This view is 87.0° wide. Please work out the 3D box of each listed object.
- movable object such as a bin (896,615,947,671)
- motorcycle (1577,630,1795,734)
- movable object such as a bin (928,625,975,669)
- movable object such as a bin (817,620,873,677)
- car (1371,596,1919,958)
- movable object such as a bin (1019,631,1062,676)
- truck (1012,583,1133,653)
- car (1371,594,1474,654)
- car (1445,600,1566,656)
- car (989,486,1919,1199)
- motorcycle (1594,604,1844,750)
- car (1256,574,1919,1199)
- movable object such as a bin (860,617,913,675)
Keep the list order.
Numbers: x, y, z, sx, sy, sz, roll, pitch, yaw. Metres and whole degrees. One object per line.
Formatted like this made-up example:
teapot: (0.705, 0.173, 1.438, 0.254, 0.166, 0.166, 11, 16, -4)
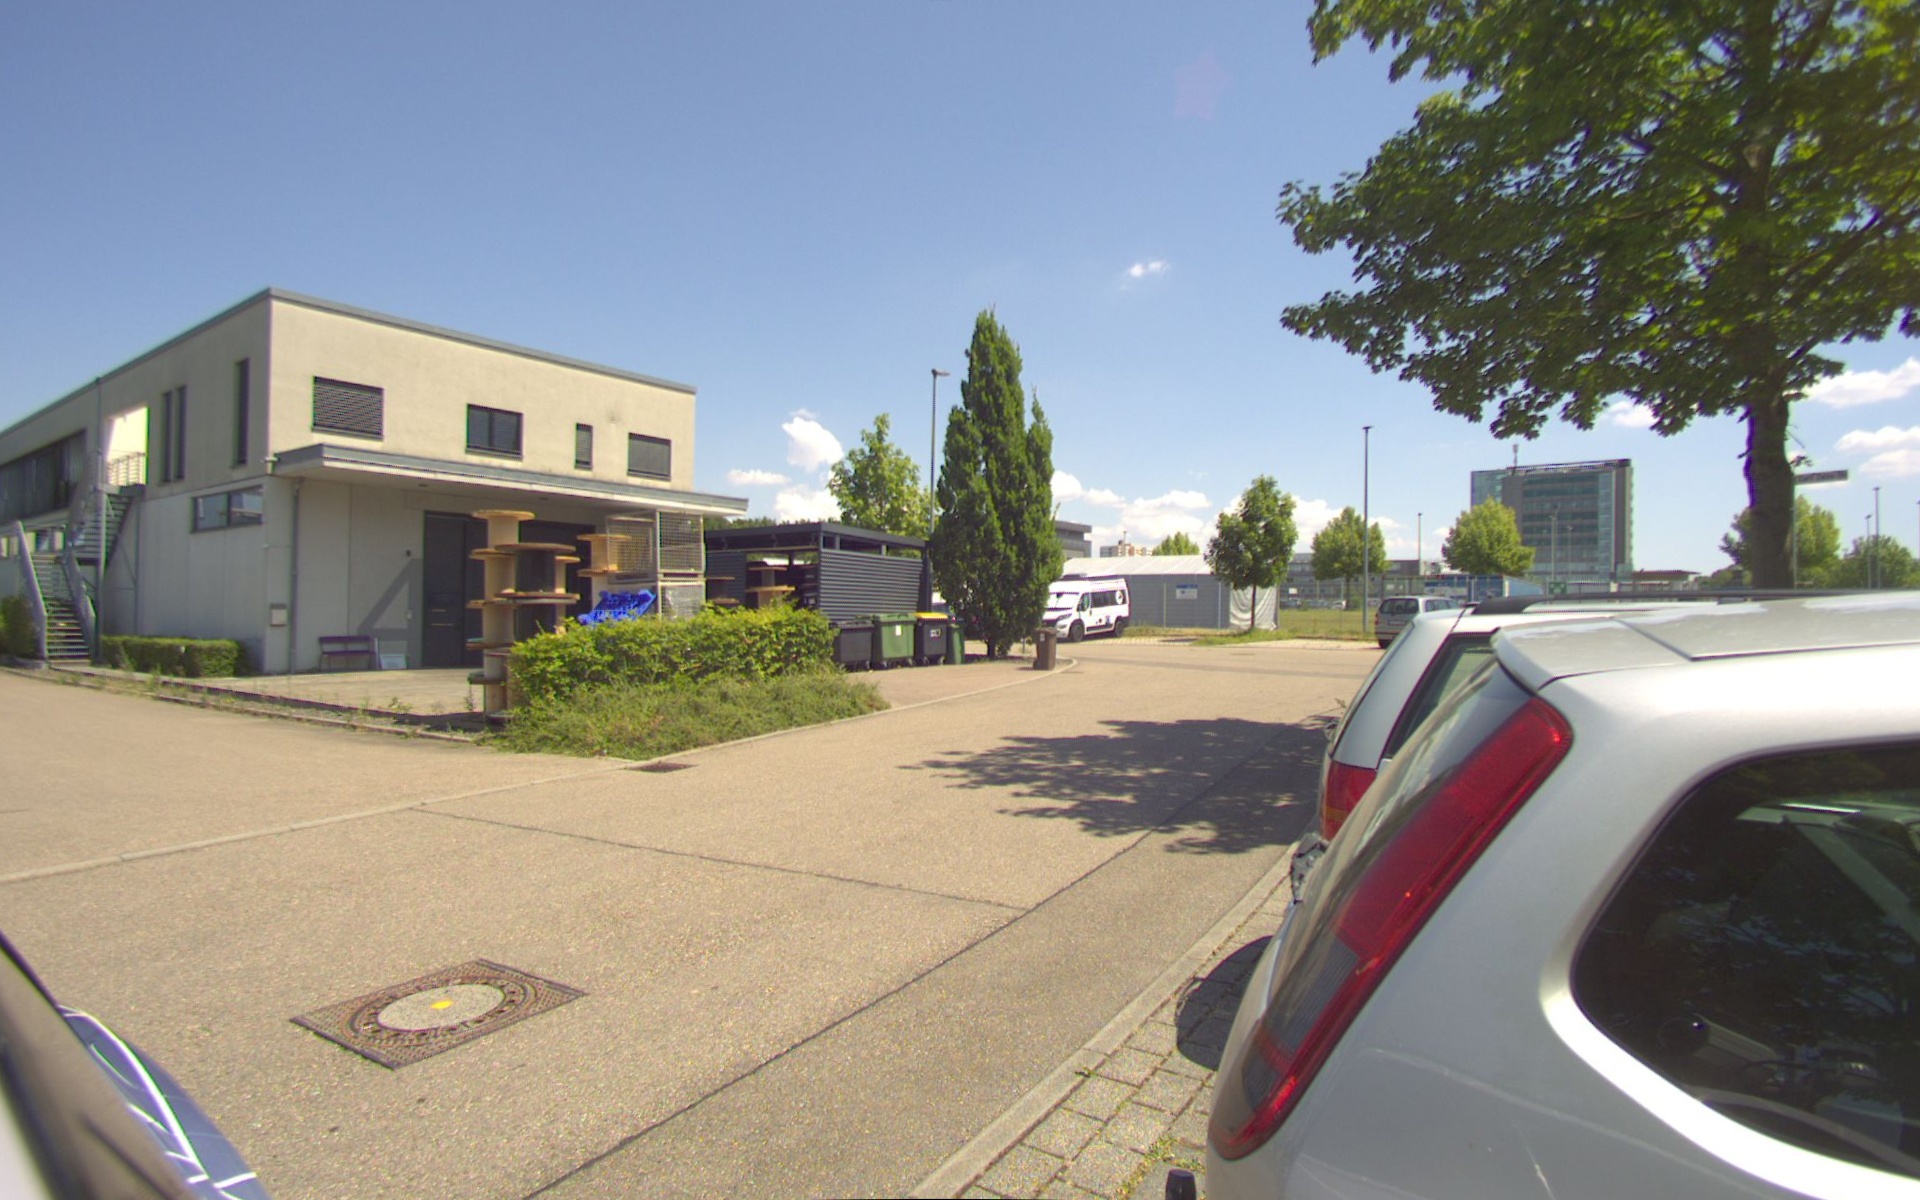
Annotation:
movable object such as a bin: (-0.959, 1.066, 25.419, 0.760, 1.346, 1.058, -1, -1, 42)
motorcycle: (8.335, 0.921, 11.732, 1.981, 1.117, 0.479, -1, -1, 30)
movable object such as a bin: (-0.206, 1.199, 26.209, 0.760, 1.092, 0.974, -1, -1, 42)
movable object such as a bin: (-2.670, 1.110, 23.503, 0.760, 1.280, 1.058, -1, -1, 42)
car: (4.165, 0.722, 4.869, 3.876, 1.459, 1.636, -1, -1, 30)
movable object such as a bin: (1.806, 1.184, 22.788, 0.760, 0.977, 0.582, -1, -1, 42)
truck: (4.757, 0.732, 41.935, 2.415, 2.692, 5.626, -1, -1, 37)
car: (14.410, 0.712, 31.429, 1.772, 1.751, 3.943, -1, -1, 43)
car: (15.882, 0.775, 29.393, 3.936, 1.533, 1.656, 0, -1, -39)
car: (2.300, 0.663, 0.519, 4.335, 1.490, 1.706, -1, -1, 33)
motorcycle: (7.750, 0.766, 10.448, 1.981, 1.400, 0.479, -1, -1, 30)
car: (2.962, 0.687, 2.753, 3.876, 1.490, 1.636, -1, -1, 30)
movable object such as a bin: (-1.766, 1.084, 24.353, 0.760, 1.346, 1.058, -1, -1, 42)
